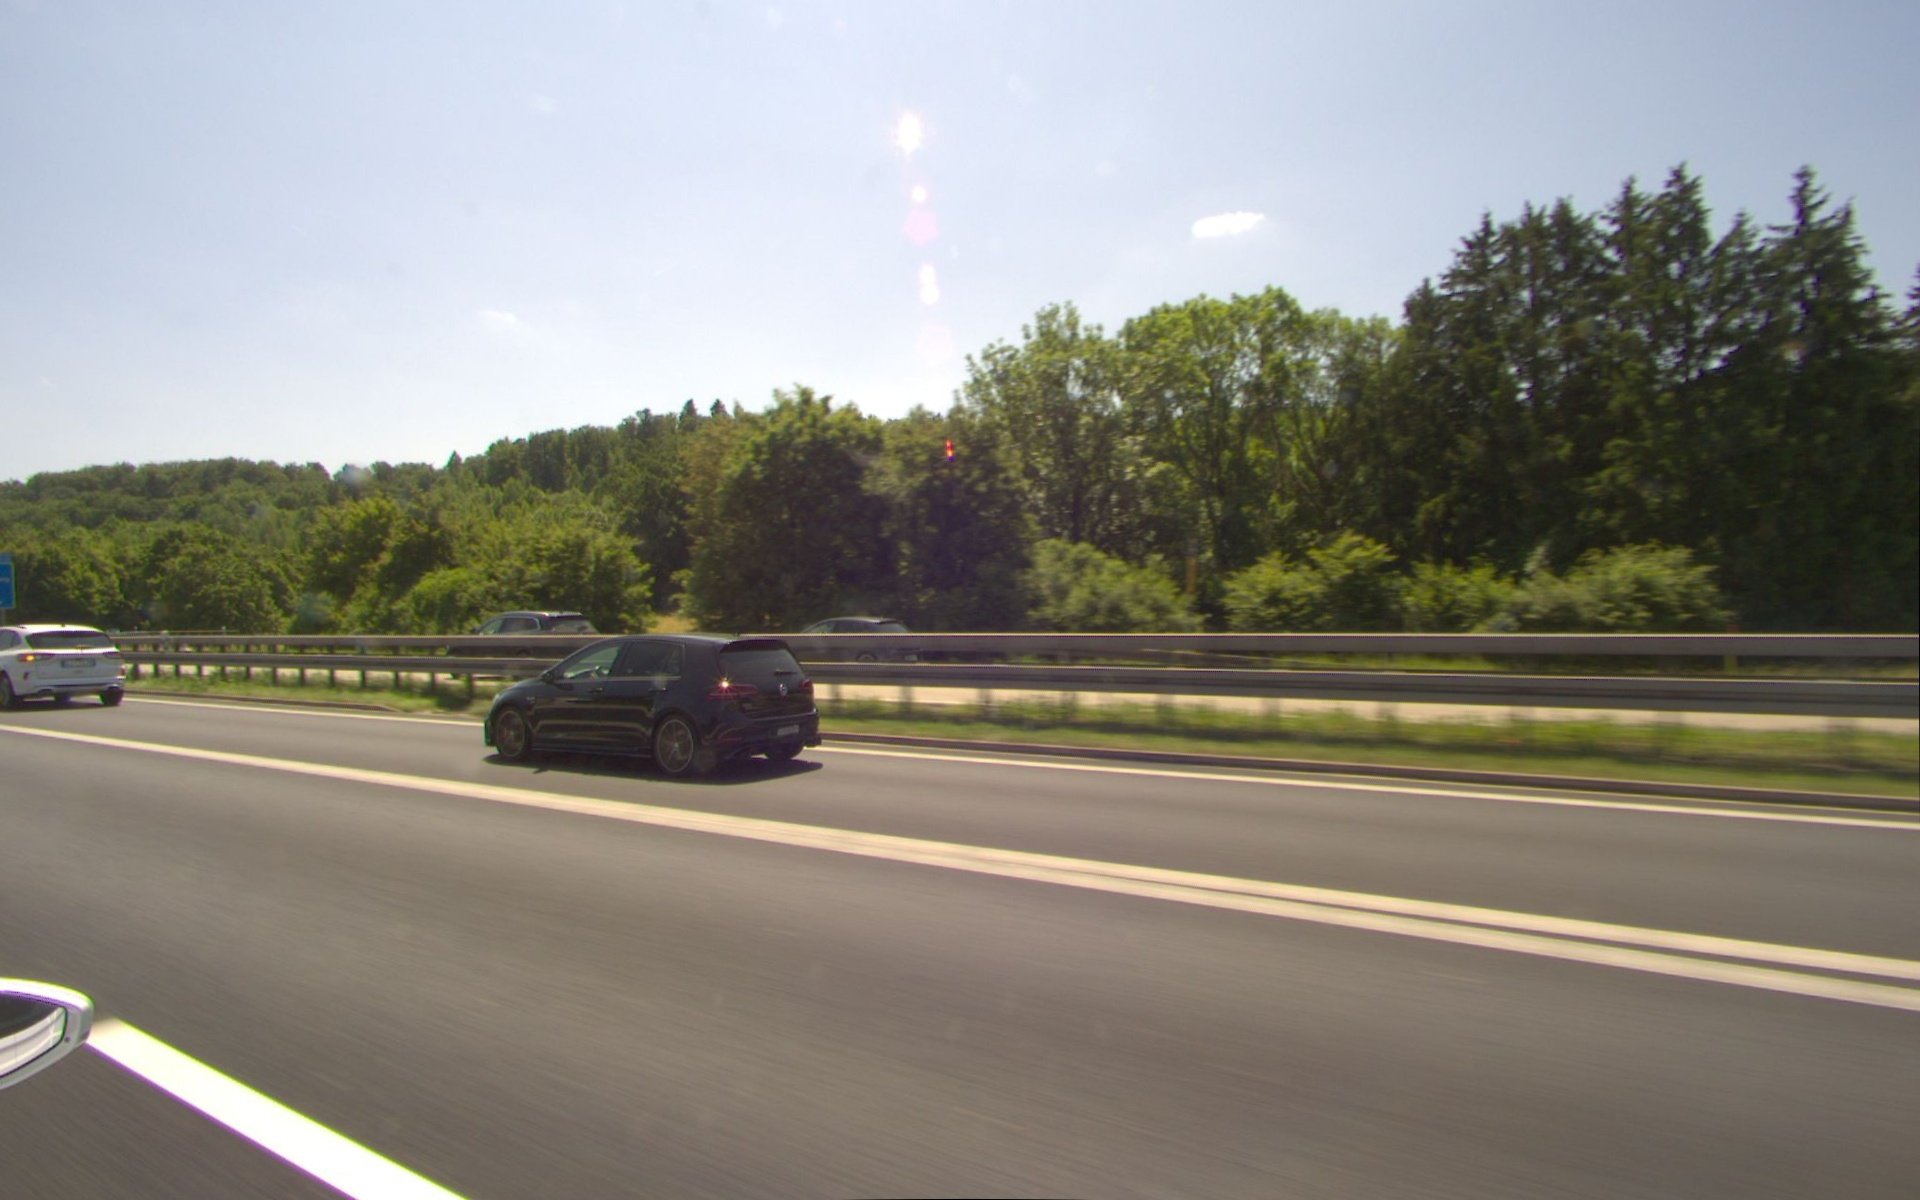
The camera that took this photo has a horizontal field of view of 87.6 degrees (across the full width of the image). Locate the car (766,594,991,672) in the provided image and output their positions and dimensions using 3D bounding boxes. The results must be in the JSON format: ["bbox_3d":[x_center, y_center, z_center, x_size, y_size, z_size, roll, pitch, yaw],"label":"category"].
[{"bbox_3d":[-1.992,0.799,23.770,5.151,1.683,1.991,-1,-2,31],"label":"car"}]

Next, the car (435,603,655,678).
[{"bbox_3d":[-10.252,0.986,24.642,5.540,1.683,1.992,-1,-2,29],"label":"car"}]

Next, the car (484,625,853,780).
[{"bbox_3d":[-3.302,1.026,11.189,3.908,1.454,1.792,-1,-2,31],"label":"car"}]

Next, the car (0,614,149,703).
[{"bbox_3d":[-19.177,1.181,21.017,4.403,1.683,1.991,-1,-2,31],"label":"car"}]
